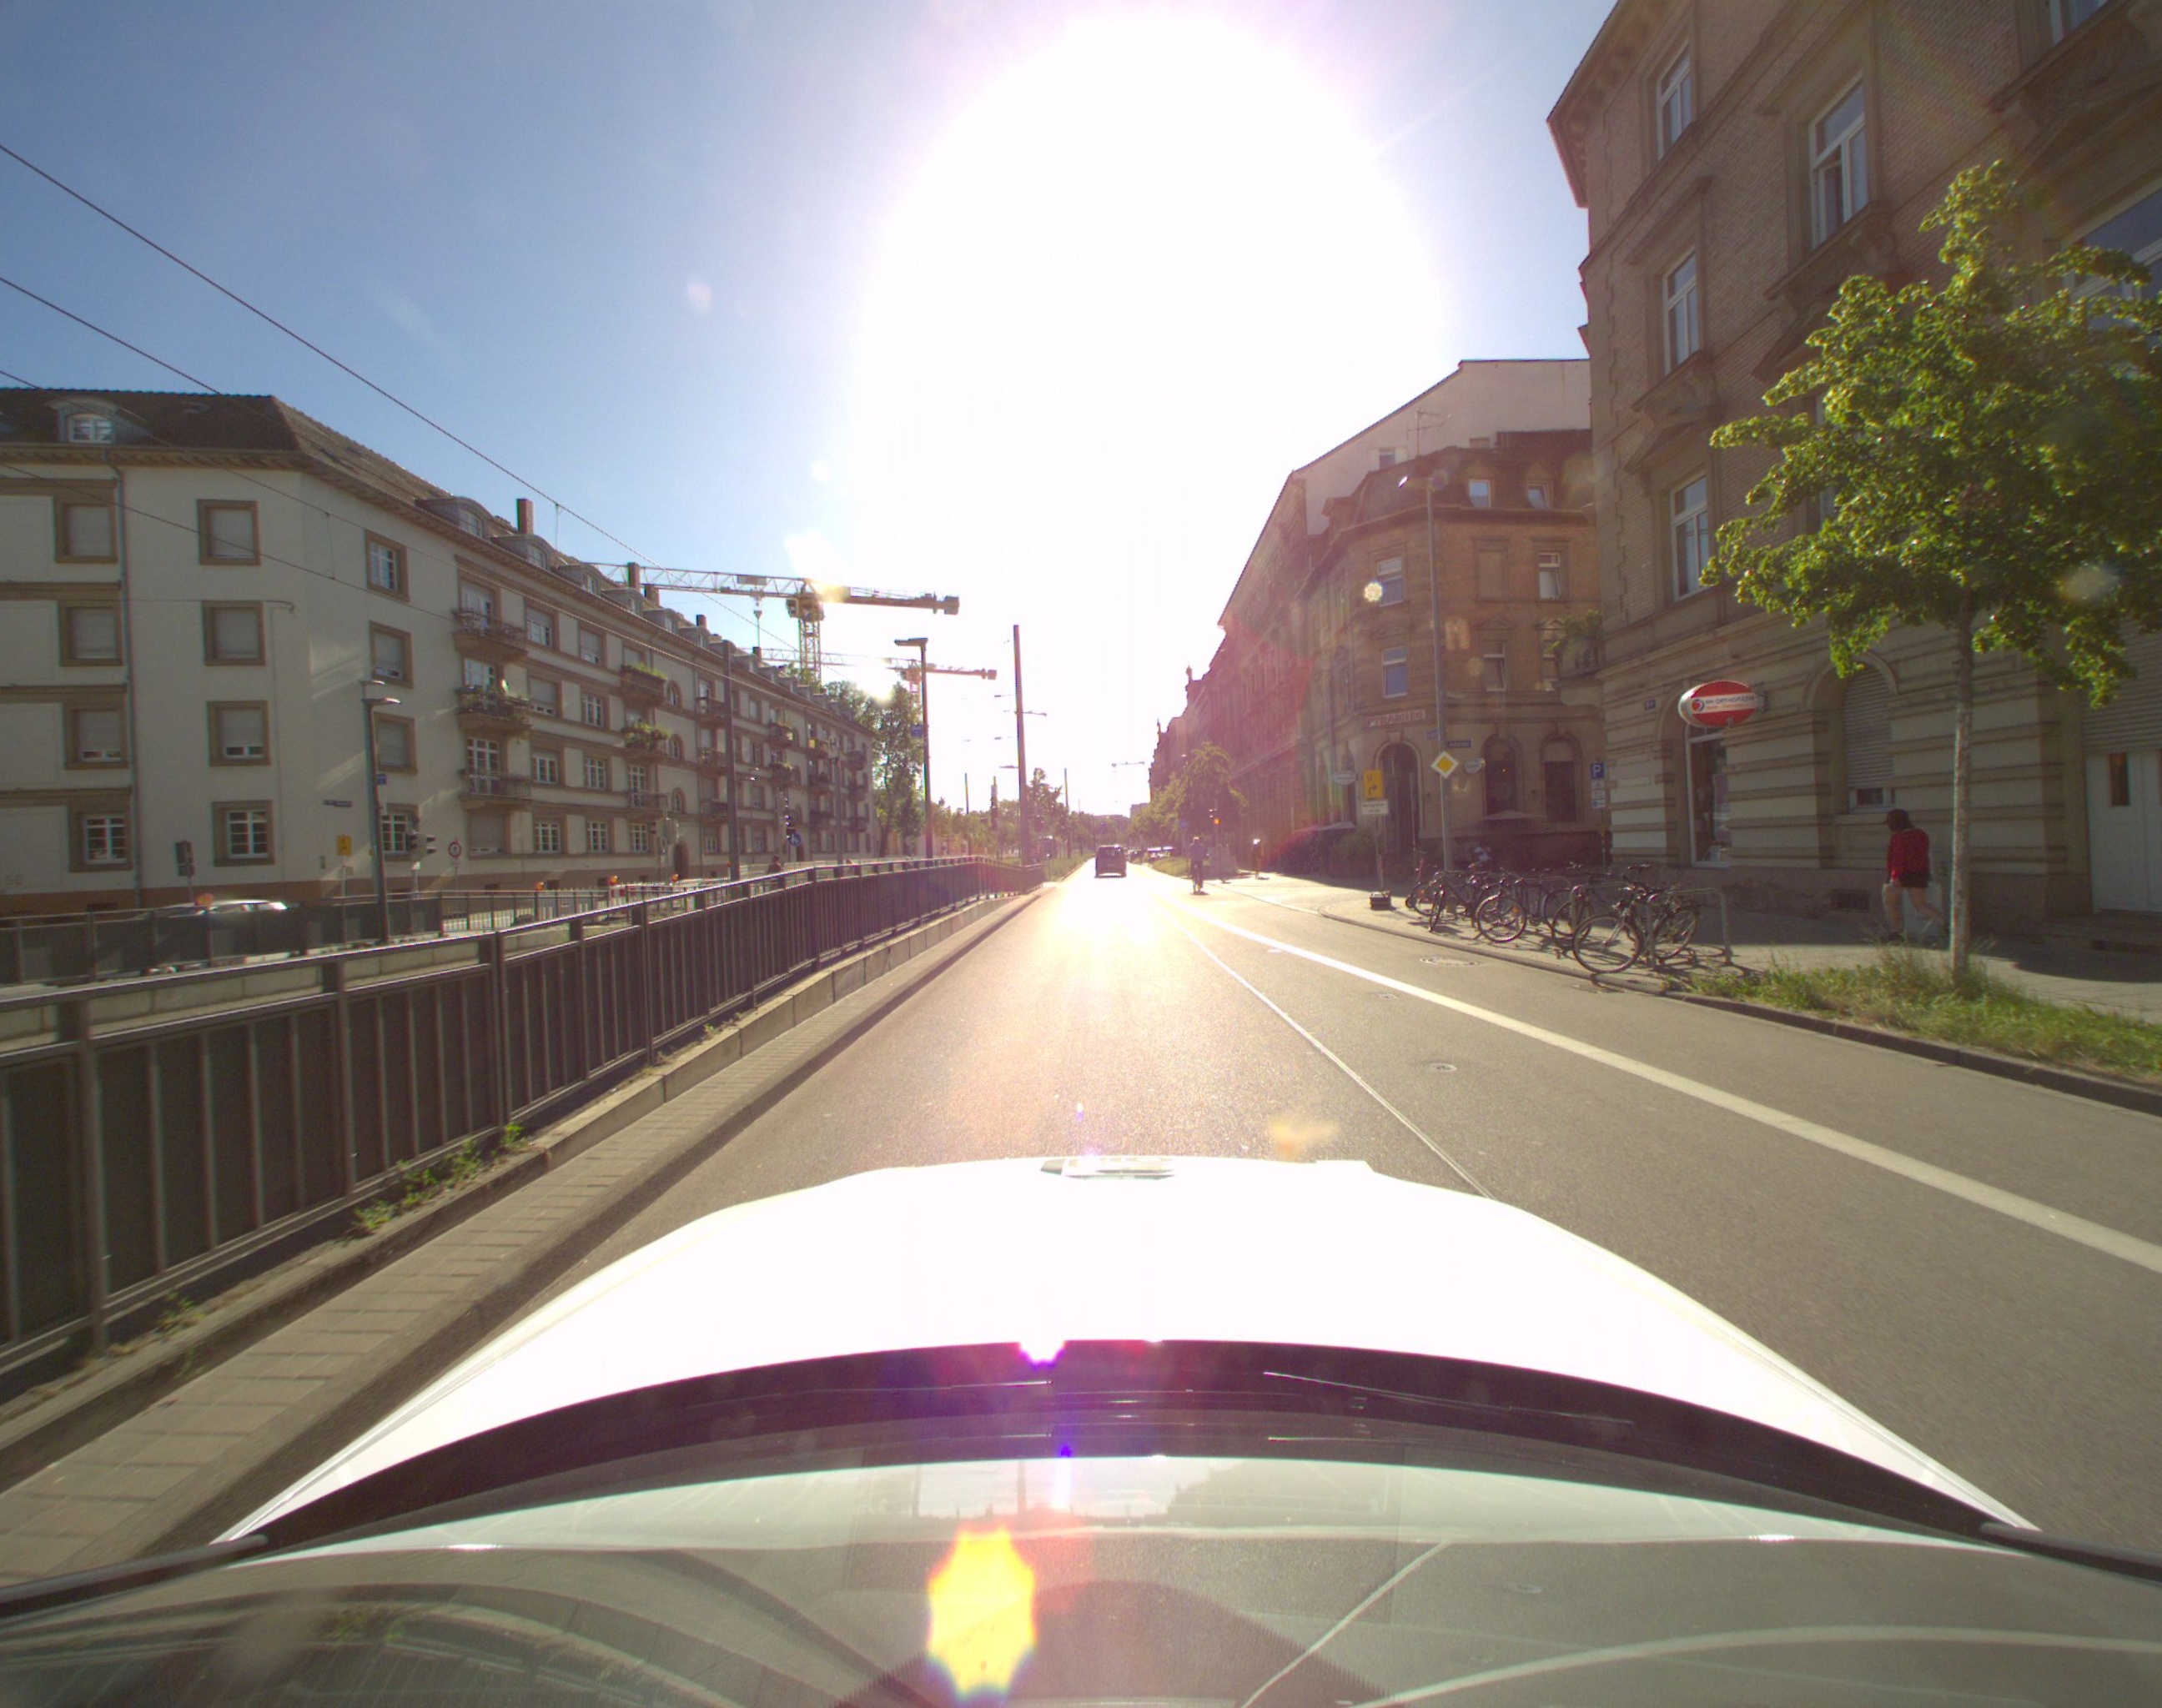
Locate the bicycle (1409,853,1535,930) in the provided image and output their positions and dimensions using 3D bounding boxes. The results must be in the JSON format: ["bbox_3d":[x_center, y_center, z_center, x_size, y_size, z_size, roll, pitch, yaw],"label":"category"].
[{"bbox_3d":[6.485,0.616,13.563,1.715,1.100,0.607,-5,0,4],"label":"bicycle"}]

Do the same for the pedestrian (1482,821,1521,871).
[{"bbox_3d":[15.014,-0.280,29.097,0.905,1.760,0.866,-1,0,-6],"label":"pedestrian"}]

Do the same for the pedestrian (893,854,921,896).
[{"bbox_3d":[-6.608,0.788,31.002,0.809,1.536,0.798,-1,0,3],"label":"pedestrian"}]

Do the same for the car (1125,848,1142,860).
[{"bbox_3d":[7.009,0.039,109.833,2.021,1.499,4.531,-3,0,1],"label":"car"}]

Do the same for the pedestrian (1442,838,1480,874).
[{"bbox_3d":[13.465,0.064,28.874,0.848,1.214,0.932,-2,0,-6],"label":"pedestrian"}]

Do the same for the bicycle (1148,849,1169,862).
[{"bbox_3d":[7.073,0.146,74.139,1.786,1.030,0.527,-7,0,0],"label":"bicycle"}]

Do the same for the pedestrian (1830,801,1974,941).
[{"bbox_3d":[9.663,0.184,9.623,0.707,1.542,0.927,-3,0,1],"label":"pedestrian"}]

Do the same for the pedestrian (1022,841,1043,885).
[{"bbox_3d":[-2.069,0.371,34.639,0.863,1.788,0.969,-1,0,-5],"label":"pedestrian"}]

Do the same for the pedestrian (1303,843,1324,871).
[{"bbox_3d":[10.548,0.126,37.032,0.703,1.236,0.635,-4,0,1],"label":"pedestrian"}]

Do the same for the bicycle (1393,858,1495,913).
[{"bbox_3d":[6.973,0.598,15.702,1.661,0.944,0.608,-3,1,8],"label":"bicycle"}]

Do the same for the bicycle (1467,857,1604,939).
[{"bbox_3d":[6.673,0.639,12.005,1.592,1.045,0.607,-5,0,4],"label":"bicycle"}]

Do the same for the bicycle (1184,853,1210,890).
[{"bbox_3d":[3.919,0.572,27.606,0.599,1.181,1.869,-1,0,1],"label":"bicycle"}]

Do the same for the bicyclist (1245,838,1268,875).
[{"bbox_3d":[7.717,0.103,35.819,0.658,1.530,0.801,-7,0,1],"label":"bicyclist"}]

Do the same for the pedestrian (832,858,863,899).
[{"bbox_3d":[-8.931,0.933,31.229,0.862,1.536,0.909,-1,0,1],"label":"pedestrian"}]

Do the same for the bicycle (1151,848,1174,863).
[{"bbox_3d":[6.963,0.126,69.679,1.786,1.030,0.527,-7,0,0],"label":"bicycle"}]

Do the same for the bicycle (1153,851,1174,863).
[{"bbox_3d":[7.329,0.260,72.790,1.786,1.030,0.527,-3,0,0],"label":"bicycle"}]

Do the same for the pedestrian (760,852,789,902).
[{"bbox_3d":[-11.264,0.837,29.912,0.870,1.780,0.901,-2,0,-27],"label":"pedestrian"}]

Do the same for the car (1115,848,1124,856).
[{"bbox_3d":[9.358,-0.471,196.895,1.986,1.838,4.001,-1,0,1],"label":"car"}]

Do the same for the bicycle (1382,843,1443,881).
[{"bbox_3d":[11.325,0.284,27.878,1.809,1.171,0.655,-3,4,4],"label":"bicycle"}]

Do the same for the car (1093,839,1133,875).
[{"bbox_3d":[1.842,0.138,48.070,2.192,1.926,4.655,-3,0,1],"label":"car"}]

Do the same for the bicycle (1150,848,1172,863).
[{"bbox_3d":[6.991,0.132,71.053,1.786,1.030,0.527,-7,0,0],"label":"bicycle"}]

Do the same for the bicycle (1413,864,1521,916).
[{"bbox_3d":[7.098,0.660,15.035,1.661,0.821,0.608,-4,1,7],"label":"bicycle"}]

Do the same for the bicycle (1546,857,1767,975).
[{"bbox_3d":[6.552,0.668,9.322,1.994,1.092,0.845,-5,0,-9],"label":"bicycle"}]

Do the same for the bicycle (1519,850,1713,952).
[{"bbox_3d":[6.976,0.595,10.690,1.987,1.128,0.710,-5,0,2],"label":"bicycle"}]

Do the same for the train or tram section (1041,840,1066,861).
[{"bbox_3d":[-3.829,-0.478,116.161,2.745,2.742,9.869,-1,0,2],"label":"train or tram section"}]

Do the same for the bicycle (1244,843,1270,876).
[{"bbox_3d":[7.730,0.238,35.882,0.613,1.330,1.900,-7,0,1],"label":"bicycle"}]

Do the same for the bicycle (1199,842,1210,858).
[{"bbox_3d":[10.075,-0.319,66.443,0.581,1.222,1.900,-2,0,1],"label":"bicycle"}]

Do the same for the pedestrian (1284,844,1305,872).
[{"bbox_3d":[9.718,0.175,37.034,0.703,1.178,0.635,-4,0,1],"label":"pedestrian"}]

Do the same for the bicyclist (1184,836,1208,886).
[{"bbox_3d":[3.911,0.228,27.760,0.682,1.673,0.922,-1,0,0],"label":"bicyclist"}]

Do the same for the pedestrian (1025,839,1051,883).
[{"bbox_3d":[-1.932,0.304,36.371,1.074,1.908,0.652,-3,0,-6],"label":"pedestrian"}]

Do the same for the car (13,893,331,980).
[{"bbox_3d":[-17.289,1.494,15.828,1.689,1.286,3.961,-1,0,1],"label":"car"}]

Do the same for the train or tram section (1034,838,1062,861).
[{"bbox_3d":[-4.210,-0.523,106.315,2.745,2.742,9.869,-1,0,2],"label":"train or tram section"}]

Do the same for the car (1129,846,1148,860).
[{"bbox_3d":[6.870,-0.111,97.608,2.021,1.499,4.655,-3,0,1],"label":"car"}]

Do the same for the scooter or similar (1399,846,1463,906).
[{"bbox_3d":[7.349,0.463,17.108,1.105,1.189,0.420,-3,1,8],"label":"scooter or similar"}]

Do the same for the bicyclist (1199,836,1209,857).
[{"bbox_3d":[10.040,-0.590,66.377,0.664,1.639,0.961,-3,0,1],"label":"bicyclist"}]

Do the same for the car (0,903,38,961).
[{"bbox_3d":[-30.279,2.209,21.210,1.685,1.521,3.664,-3,0,-8],"label":"car"}]
